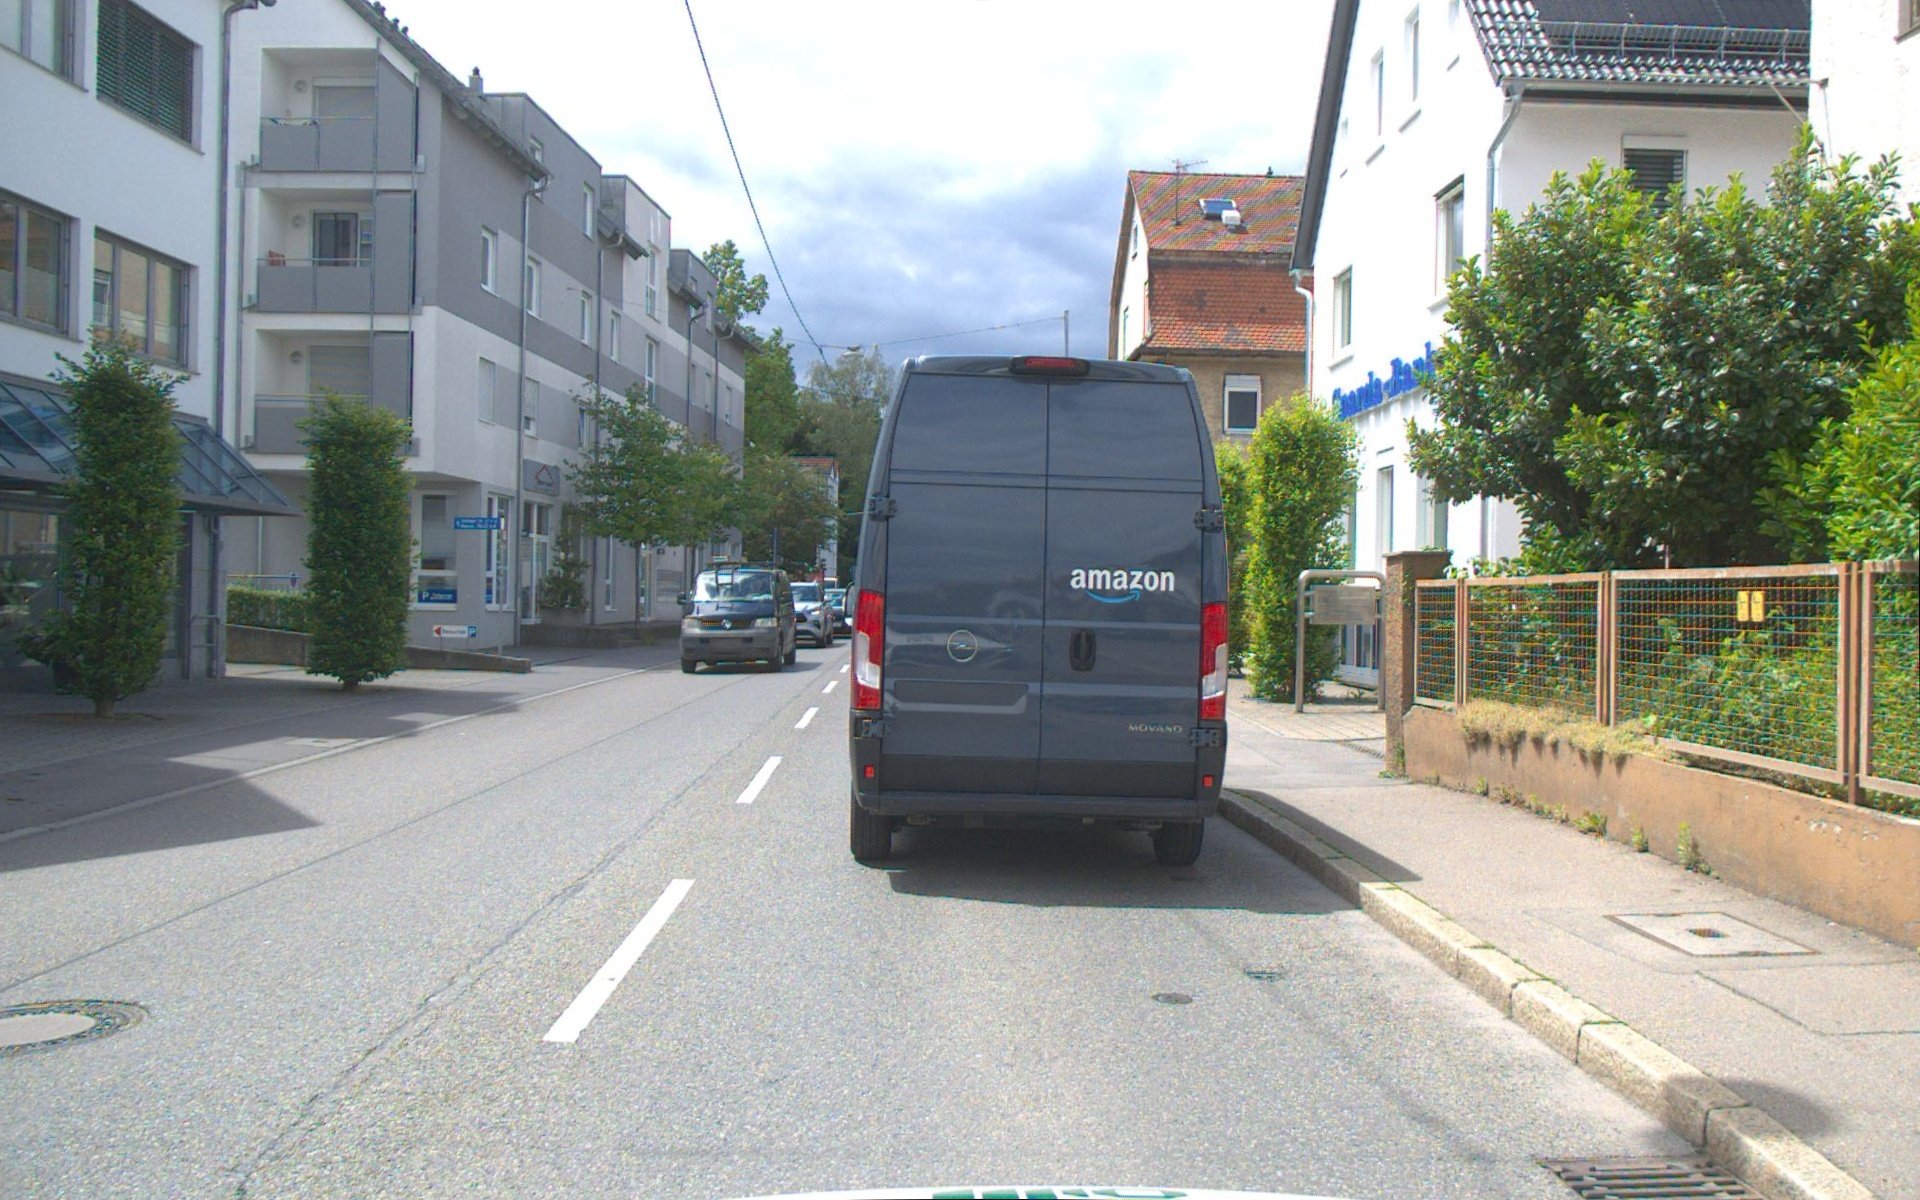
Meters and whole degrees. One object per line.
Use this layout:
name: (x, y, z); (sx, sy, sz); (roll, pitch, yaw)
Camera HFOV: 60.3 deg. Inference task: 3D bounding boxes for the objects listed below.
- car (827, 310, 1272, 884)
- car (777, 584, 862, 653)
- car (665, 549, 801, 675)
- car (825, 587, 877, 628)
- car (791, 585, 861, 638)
car: (0.369, -0.018, 11.063); (2.207, 2.844, 5.567); (1, 0, -2)
car: (-3.760, 0.474, 45.002); (2.063, 1.739, 4.763); (1, 0, -2)
car: (-4.212, 0.201, 31.455); (2.063, 2.158, 4.763); (-1, 0, -2)
car: (-4.514, 0.295, 69.039); (2.063, 1.624, 4.648); (1, 0, -2)
car: (-4.294, 0.353, 53.745); (2.063, 1.624, 4.648); (1, 0, -2)
